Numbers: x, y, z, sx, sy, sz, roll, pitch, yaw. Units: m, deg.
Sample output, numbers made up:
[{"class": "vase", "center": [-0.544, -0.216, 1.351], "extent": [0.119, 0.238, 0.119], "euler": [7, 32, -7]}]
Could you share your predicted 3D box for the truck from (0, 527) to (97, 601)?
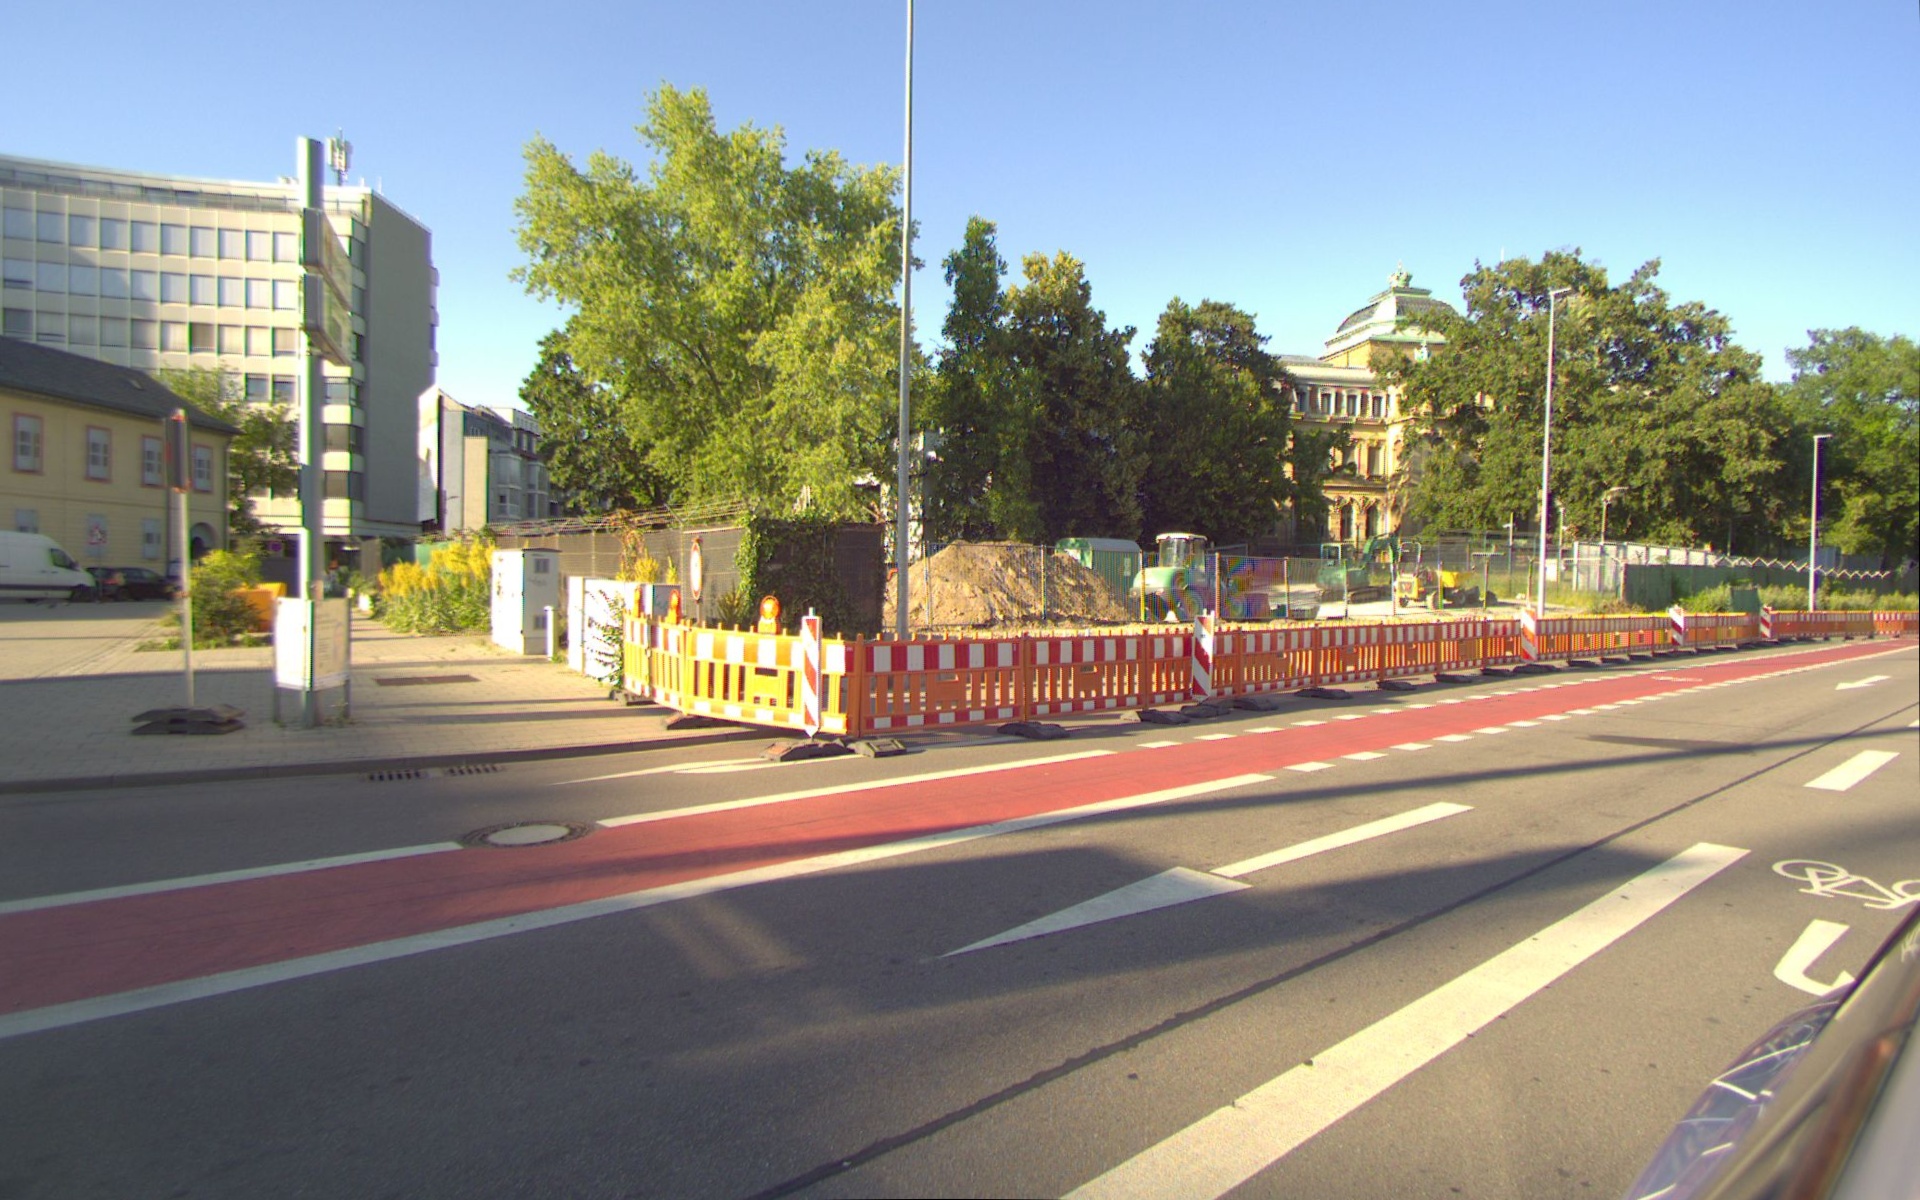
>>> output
[{"class": "truck", "center": [-34.313, -1.254, 36.057], "extent": [2.258, 2.581, 5.638], "euler": [0, 0, 1]}]

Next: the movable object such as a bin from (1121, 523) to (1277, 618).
[{"class": "movable object such as a bin", "center": [7.441, -0.876, 31.298], "extent": [4.920, 2.717, 1.999], "euler": [-1, 0, -36]}]

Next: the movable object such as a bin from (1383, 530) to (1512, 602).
[{"class": "movable object such as a bin", "center": [20.428, -1.369, 42.359], "extent": [5.750, 2.852, 2.002], "euler": [-1, 0, -30]}]

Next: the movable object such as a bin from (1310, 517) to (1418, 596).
[{"class": "movable object such as a bin", "center": [18.160, -1.874, 45.379], "extent": [5.274, 3.371, 1.999], "euler": [-1, 0, -36]}]

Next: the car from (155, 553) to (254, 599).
[{"class": "car", "center": [-34.394, -1.085, 46.171], "extent": [1.682, 2.005, 3.761], "euler": [0, 0, 1]}]

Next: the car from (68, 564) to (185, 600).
[{"class": "car", "center": [-34.339, -0.732, 41.816], "extent": [1.682, 1.382, 3.761], "euler": [0, 0, 1]}]
